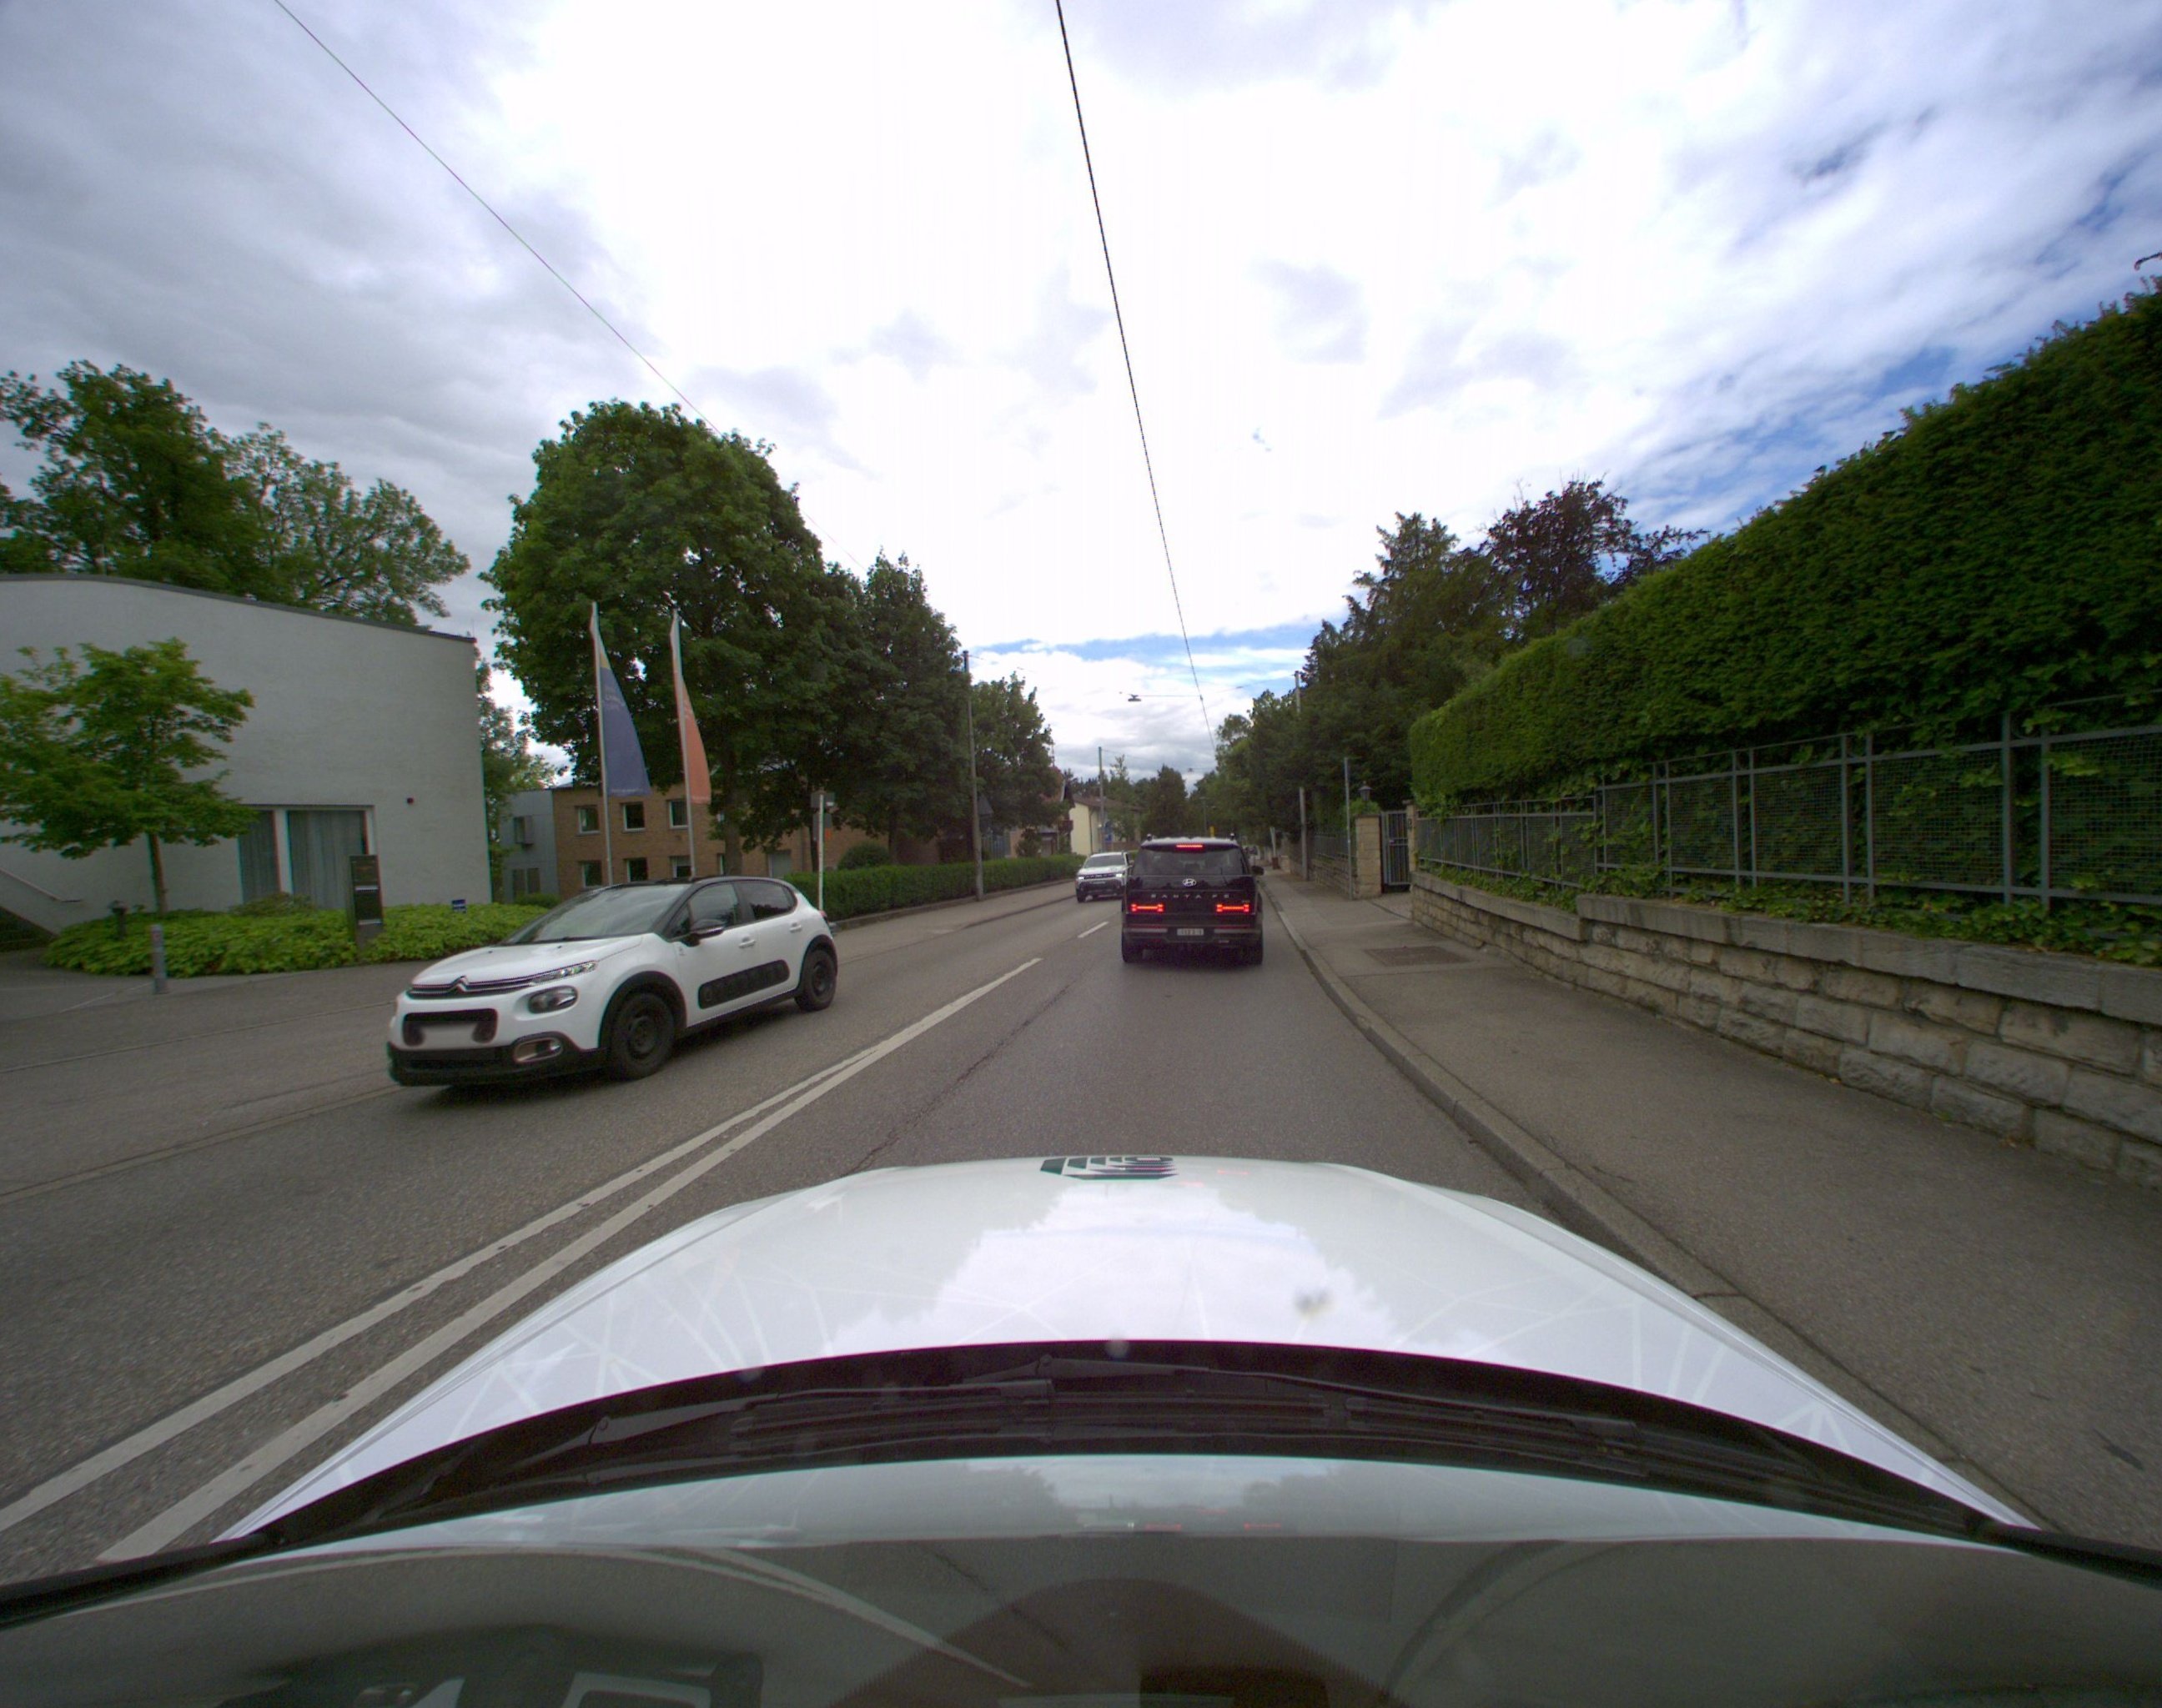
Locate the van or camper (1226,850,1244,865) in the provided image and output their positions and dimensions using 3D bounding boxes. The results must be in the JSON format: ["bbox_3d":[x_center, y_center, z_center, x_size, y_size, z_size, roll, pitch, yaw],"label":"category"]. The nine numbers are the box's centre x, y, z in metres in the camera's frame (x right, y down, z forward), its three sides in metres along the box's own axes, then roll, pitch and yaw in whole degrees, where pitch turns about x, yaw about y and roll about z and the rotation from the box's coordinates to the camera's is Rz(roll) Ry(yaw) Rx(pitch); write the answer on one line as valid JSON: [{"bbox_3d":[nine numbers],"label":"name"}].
[{"bbox_3d":[18.505,0.421,97.808,1.980,1.651,4.013,-4,0,12],"label":"van or camper"}]

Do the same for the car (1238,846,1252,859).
[{"bbox_3d":[23.106,-0.196,114.514,1.633,1.561,3.663,-3,-3,14],"label":"car"}]

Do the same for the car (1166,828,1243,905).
[{"bbox_3d":[3.528,0.363,23.490,1.946,1.956,4.232,2,-1,8],"label":"car"}]

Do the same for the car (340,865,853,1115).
[{"bbox_3d":[-3.749,0.937,7.195,1.684,1.439,3.769,-6,-1,11],"label":"car"}]

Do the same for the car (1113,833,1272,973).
[{"bbox_3d":[1.787,0.579,12.187,1.944,1.713,4.237,0,1,11],"label":"car"}]

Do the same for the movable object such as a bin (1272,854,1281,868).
[{"bbox_3d":[13.664,0.490,56.973,0.441,0.909,0.396,-7,1,21],"label":"movable object such as a bin"}]

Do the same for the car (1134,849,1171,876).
[{"bbox_3d":[4.353,0.500,49.208,1.755,1.421,4.077,-5,-1,10],"label":"car"}]

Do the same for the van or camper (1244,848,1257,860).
[{"bbox_3d":[26.979,-0.036,129.730,1.980,1.651,4.013,-4,0,12],"label":"van or camper"}]

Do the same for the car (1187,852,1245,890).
[{"bbox_3d":[5.713,0.658,34.073,1.979,1.404,4.015,-3,-1,14],"label":"car"}]

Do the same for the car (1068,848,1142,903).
[{"bbox_3d":[0.931,0.681,28.409,1.757,1.637,4.315,-6,-1,11],"label":"car"}]

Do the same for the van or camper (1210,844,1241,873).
[{"bbox_3d":[10.333,0.280,58.091,1.980,1.887,4.013,-4,0,11],"label":"van or camper"}]
